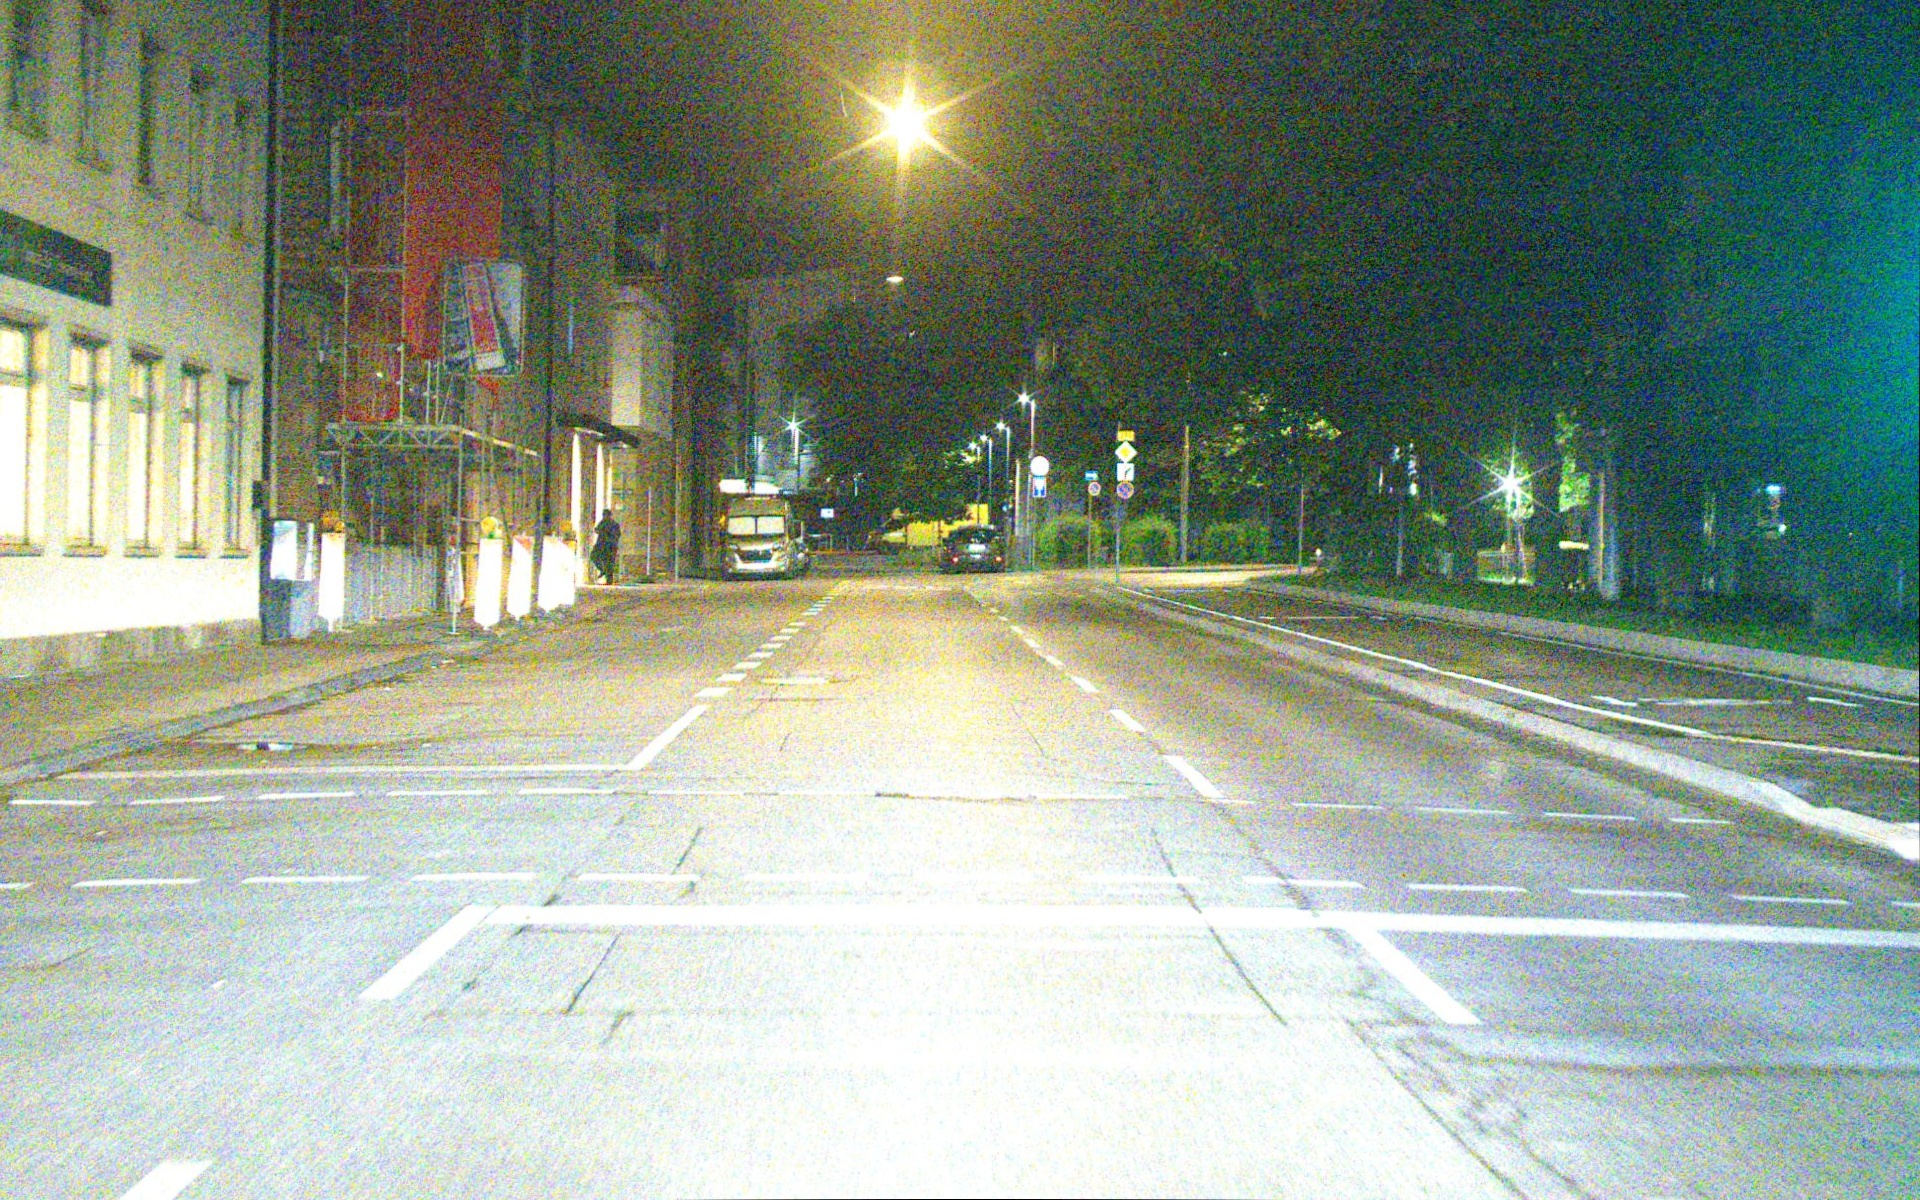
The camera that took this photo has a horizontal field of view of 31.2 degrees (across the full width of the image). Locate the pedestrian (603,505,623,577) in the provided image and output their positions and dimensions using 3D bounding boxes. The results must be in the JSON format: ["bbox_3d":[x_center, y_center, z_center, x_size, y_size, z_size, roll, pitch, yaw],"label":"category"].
[{"bbox_3d":[-8.261,-1.403,81.735,0.415,1.702,0.442,0,0,-14],"label":"pedestrian"}]

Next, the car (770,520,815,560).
[{"bbox_3d":[-6.750,-2.403,138.543,1.704,1.504,4.100,1,0,-2],"label":"car"}]

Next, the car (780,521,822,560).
[{"bbox_3d":[-6.655,-2.489,144.397,1.677,1.561,4.105,0,0,-1],"label":"car"}]

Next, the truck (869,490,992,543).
[{"bbox_3d":[-1.649,-4.668,193.240,6.775,2.834,2.000,1,1,-4],"label":"truck"}]

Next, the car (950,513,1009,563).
[{"bbox_3d":[0.676,-2.072,115.614,1.884,1.597,4.107,-1,1,1],"label":"car"}]

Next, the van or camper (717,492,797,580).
[{"bbox_3d":[-6.158,-1.938,105.023,2.158,2.527,6.227,-2,1,-1],"label":"van or camper"}]
